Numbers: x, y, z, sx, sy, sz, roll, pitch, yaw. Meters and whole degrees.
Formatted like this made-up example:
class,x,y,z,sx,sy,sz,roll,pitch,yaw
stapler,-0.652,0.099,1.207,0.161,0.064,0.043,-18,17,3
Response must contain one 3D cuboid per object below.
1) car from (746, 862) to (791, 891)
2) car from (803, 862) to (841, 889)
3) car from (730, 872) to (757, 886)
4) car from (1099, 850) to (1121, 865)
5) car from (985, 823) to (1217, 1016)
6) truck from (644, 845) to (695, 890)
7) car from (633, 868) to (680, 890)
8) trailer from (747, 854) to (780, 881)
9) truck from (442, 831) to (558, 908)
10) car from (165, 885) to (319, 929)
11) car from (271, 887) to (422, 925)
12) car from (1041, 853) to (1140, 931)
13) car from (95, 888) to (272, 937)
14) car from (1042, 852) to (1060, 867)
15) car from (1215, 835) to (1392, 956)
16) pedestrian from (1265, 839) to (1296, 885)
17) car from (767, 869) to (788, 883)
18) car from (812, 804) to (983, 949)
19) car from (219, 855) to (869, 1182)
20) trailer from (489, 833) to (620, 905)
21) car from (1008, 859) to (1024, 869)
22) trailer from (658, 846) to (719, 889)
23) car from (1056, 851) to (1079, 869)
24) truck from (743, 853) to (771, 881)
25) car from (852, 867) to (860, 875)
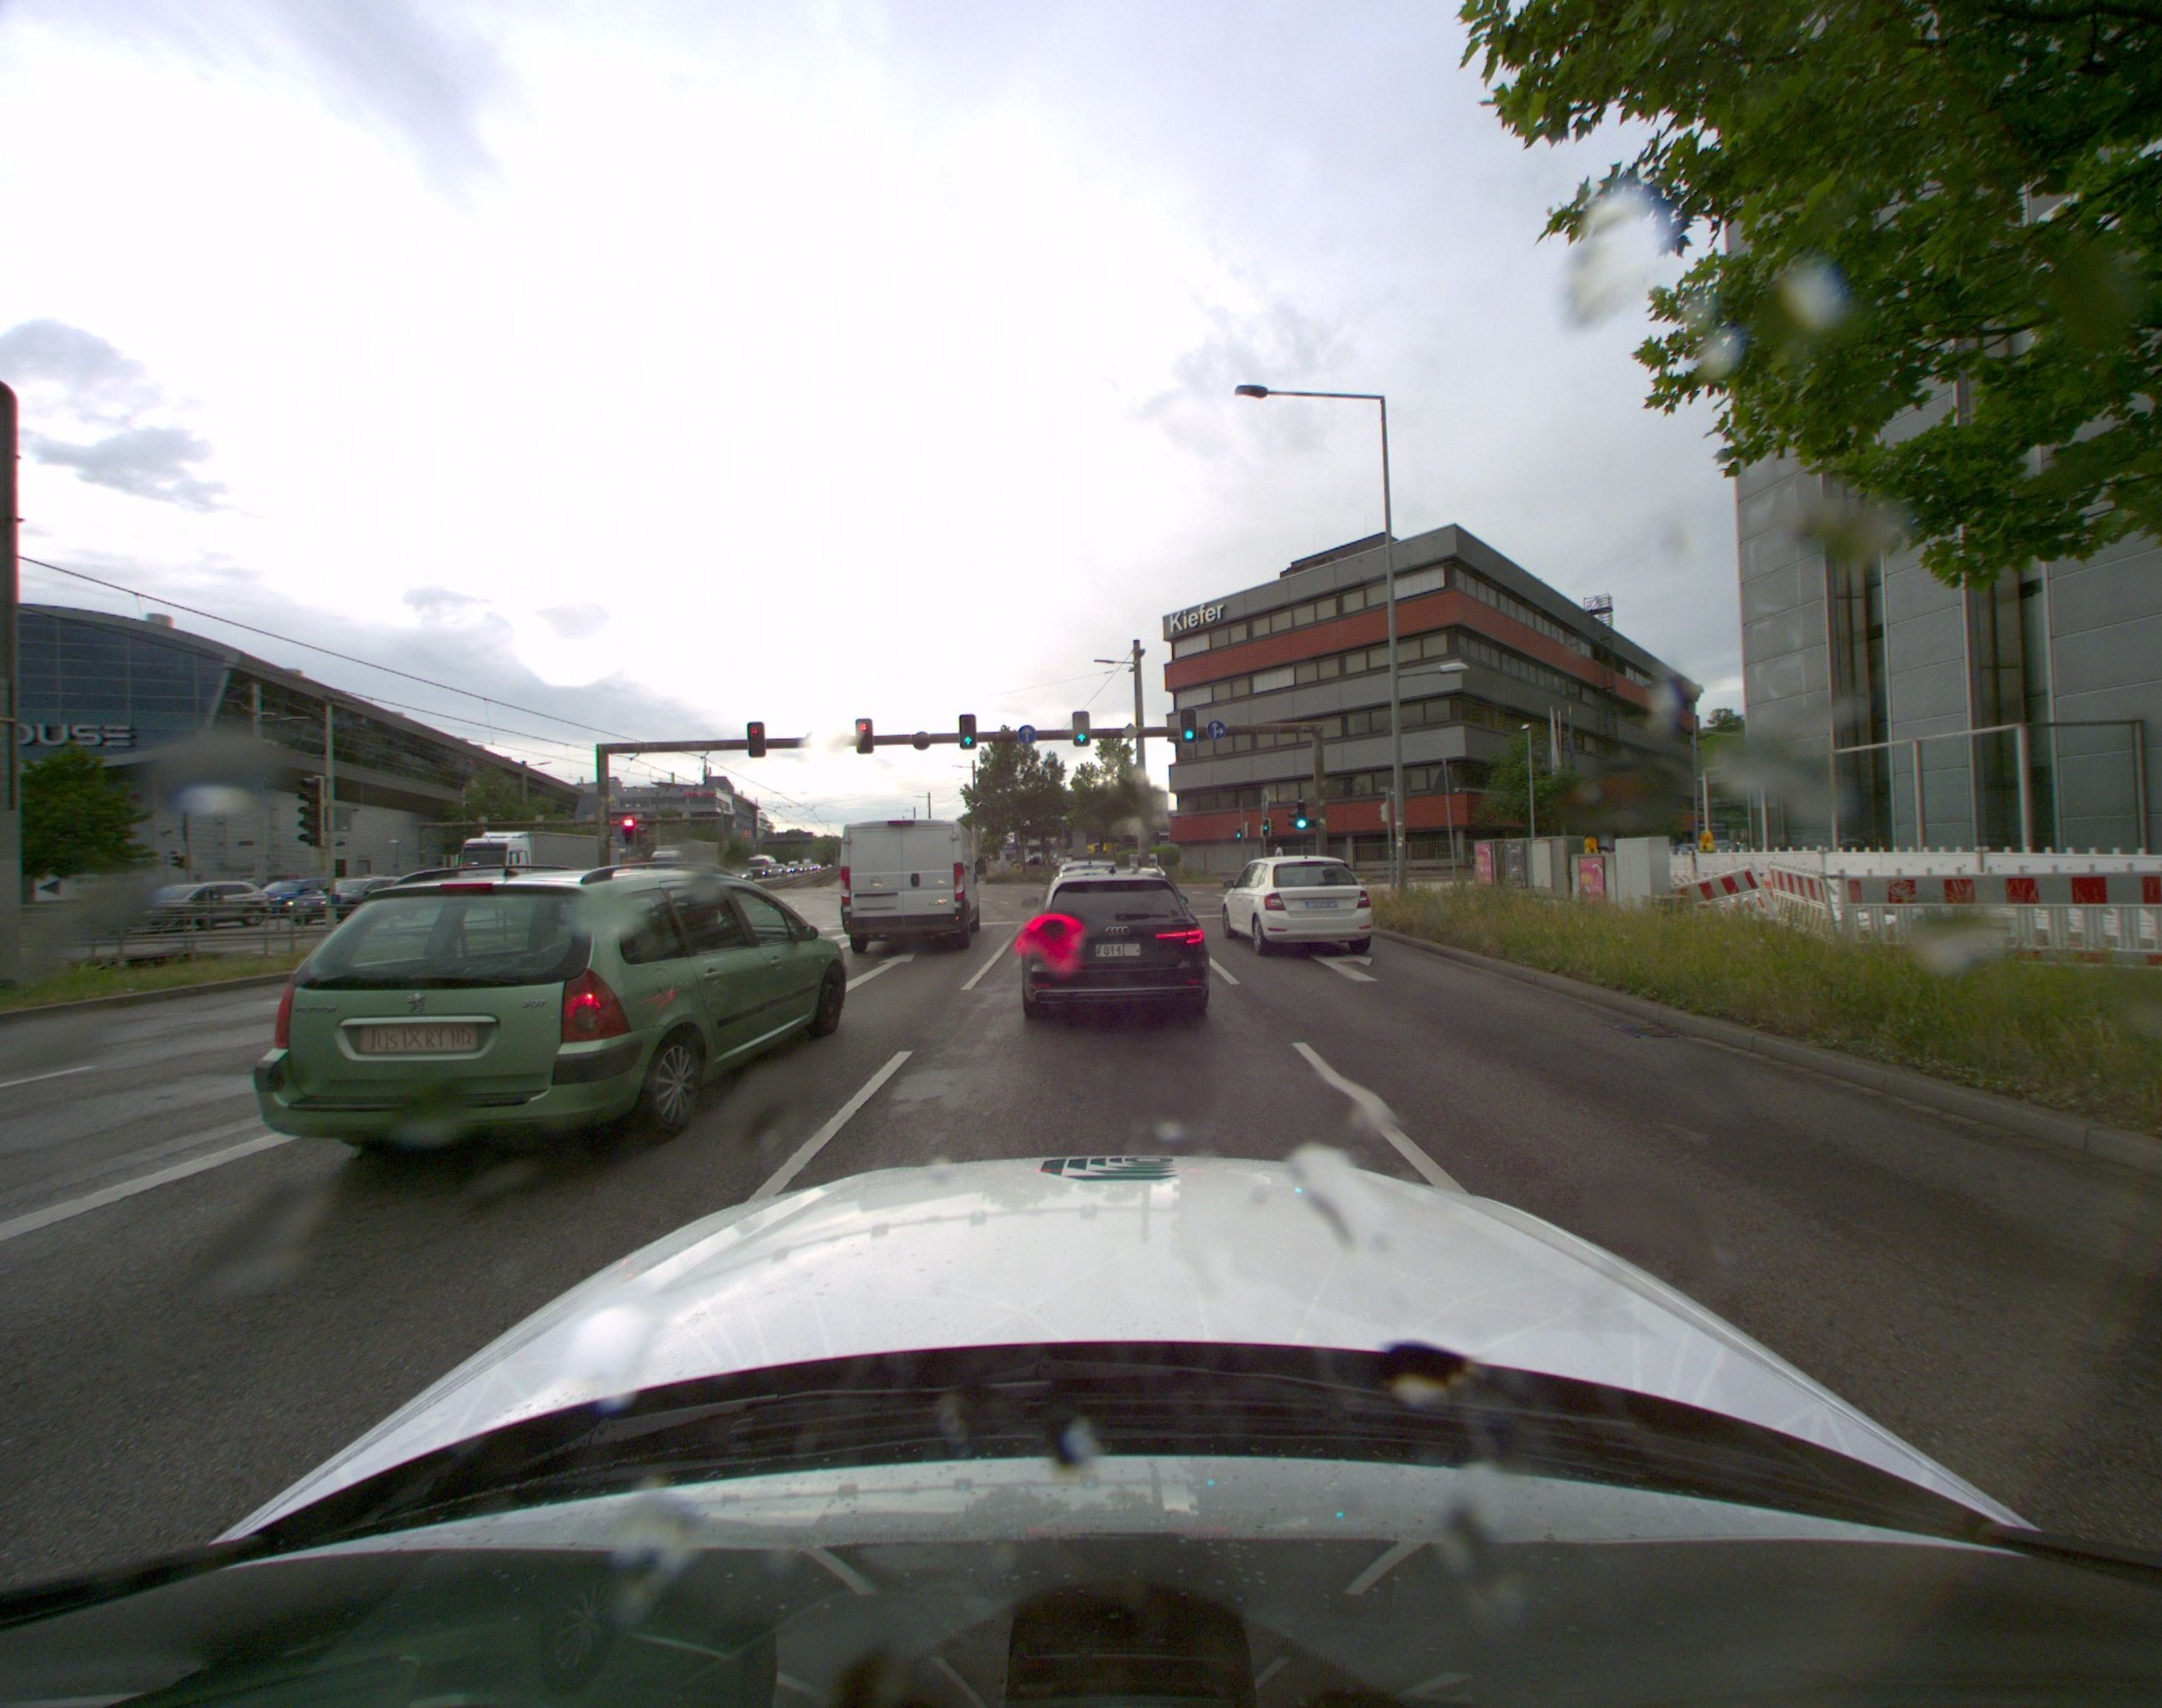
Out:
class,x,y,z,sx,sy,sz,roll,pitch,yaw
car,-23.065,1.652,60.278,1.768,2.013,4.344,0,0,-2
car,-20.672,1.691,65.162,1.768,2.014,4.344,0,0,-2
car,-39.091,2.848,94.454,1.903,1.555,4.549,1,-1,-10
car,3.983,0.528,113.773,1.876,2.014,3.749,1,-2,-19
car,0.232,0.609,8.996,1.986,1.637,4.001,0,-1,2
truck,-39.945,1.334,79.189,2.667,4.130,6.163,-2,-1,-10
car,-32.141,1.890,61.776,1.887,1.652,4.081,1,-1,-10
trailer,-48.209,2.070,124.044,2.727,3.854,11.180,-3,-1,-12
truck,-32.793,0.840,46.246,2.831,3.996,5.969,-2,0,-9
car,-34.787,2.153,33.967,1.989,1.628,4.314,0,-1,-3
car,-27.894,1.946,31.175,1.904,1.264,4.408,0,-1,-3
car,0.299,0.786,17.783,1.886,1.465,3.912,-2,-1,3
car,-30.739,1.962,28.111,1.736,1.462,4.143,0,-1,-6
car,-4.097,0.755,110.635,1.681,2.014,3.524,1,-1,-14
car,3.452,0.625,13.437,1.823,1.656,3.999,-1,-1,0
pedestrian,9.589,0.354,39.201,1.139,2.125,1.223,-3,1,1
car,-43.237,3.107,116.111,1.995,1.837,4.889,-1,0,-11
car,-3.203,0.416,15.413,2.441,2.294,4.896,0,-1,-5
car,-3.005,0.789,5.899,1.688,1.468,4.403,0,-1,1
trailer,-33.935,0.891,53.200,2.795,4.107,11.403,-2,0,-10
car,-10.659,1.691,133.114,1.795,1.591,3.977,-2,0,-16
trailer,-41.291,1.481,86.121,2.651,4.125,12.693,-2,-1,-11
car,-1.662,0.765,101.711,1.996,2.032,3.982,-2,0,-13
truck,-46.976,1.956,118.137,2.749,3.805,5.386,-3,-1,-13
car,-57.656,4.302,209.067,1.775,2.014,4.327,1,-1,-13
